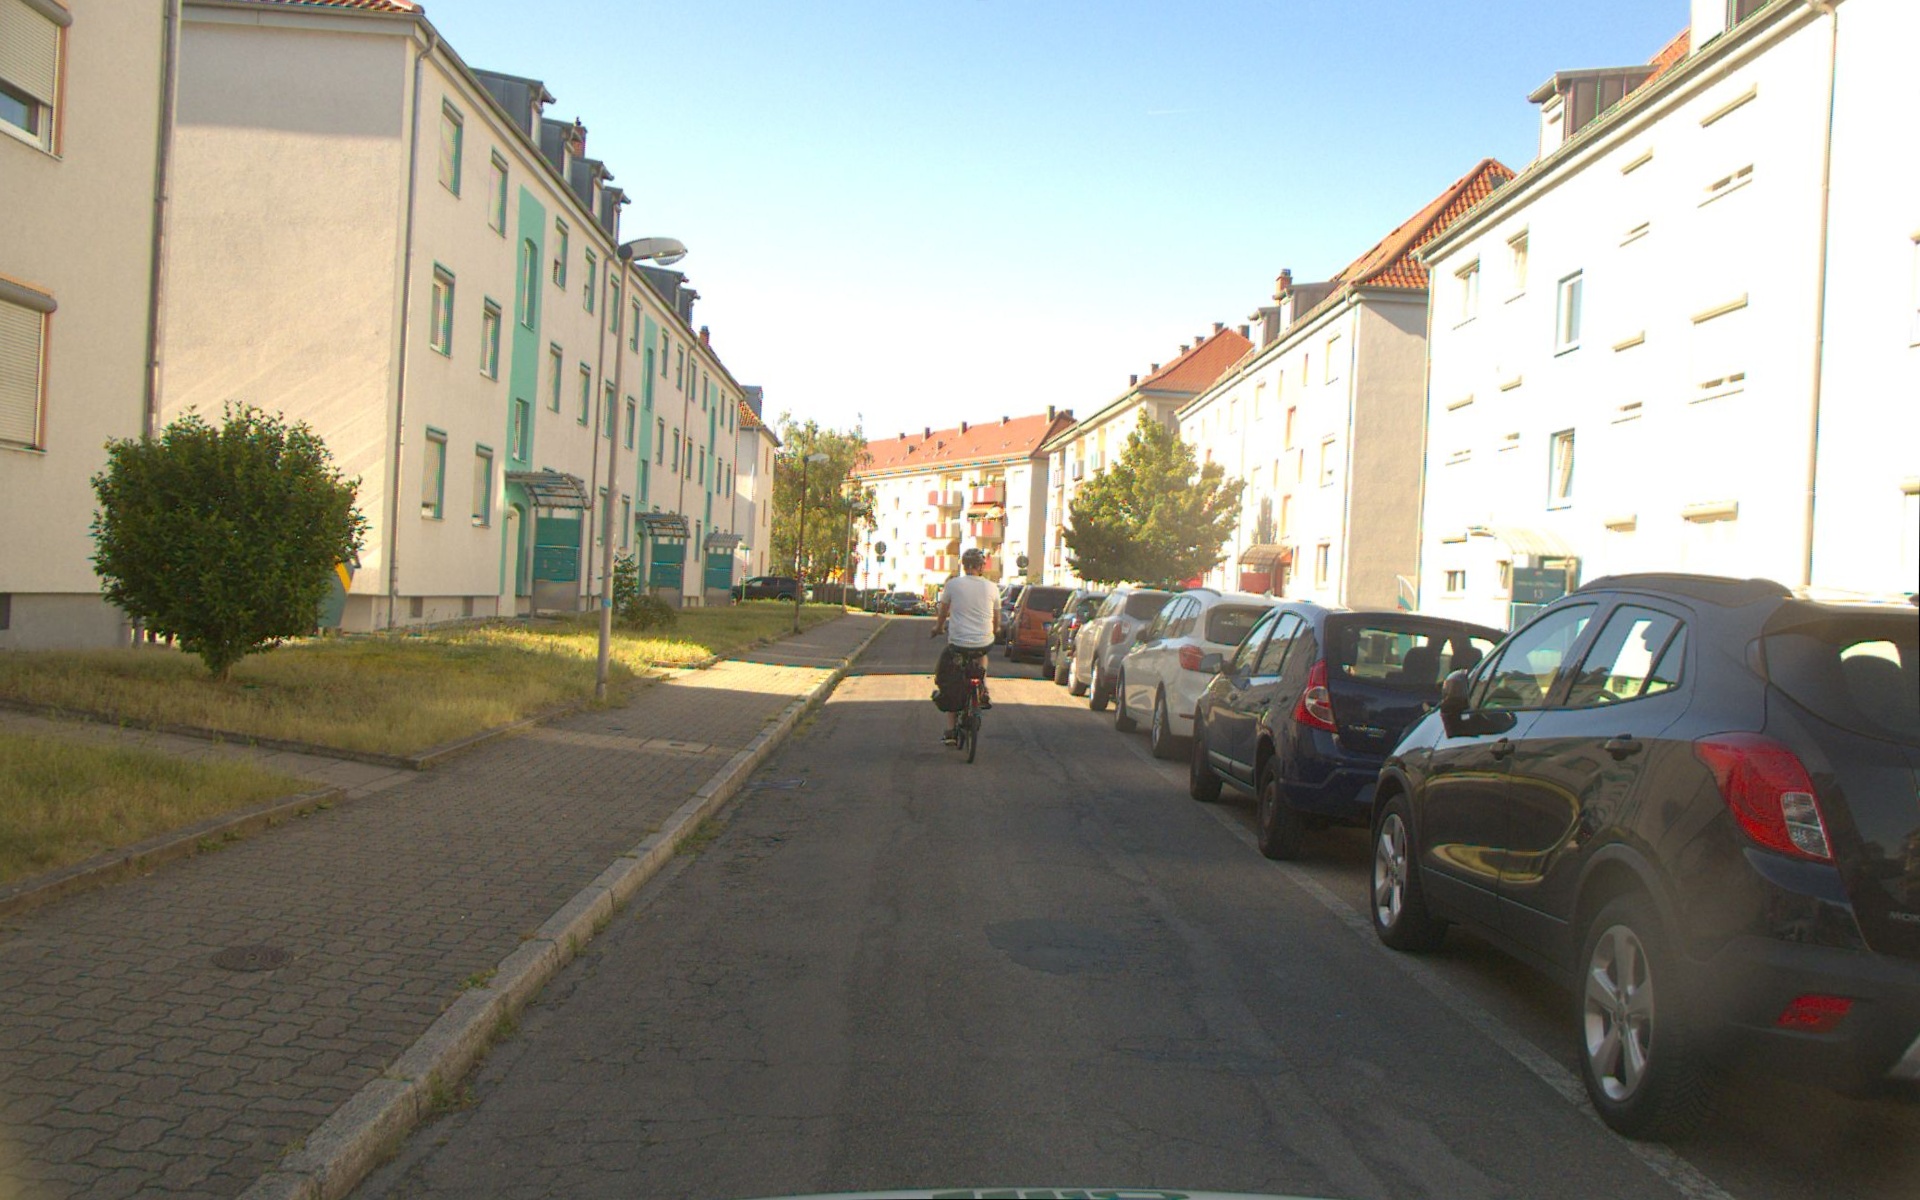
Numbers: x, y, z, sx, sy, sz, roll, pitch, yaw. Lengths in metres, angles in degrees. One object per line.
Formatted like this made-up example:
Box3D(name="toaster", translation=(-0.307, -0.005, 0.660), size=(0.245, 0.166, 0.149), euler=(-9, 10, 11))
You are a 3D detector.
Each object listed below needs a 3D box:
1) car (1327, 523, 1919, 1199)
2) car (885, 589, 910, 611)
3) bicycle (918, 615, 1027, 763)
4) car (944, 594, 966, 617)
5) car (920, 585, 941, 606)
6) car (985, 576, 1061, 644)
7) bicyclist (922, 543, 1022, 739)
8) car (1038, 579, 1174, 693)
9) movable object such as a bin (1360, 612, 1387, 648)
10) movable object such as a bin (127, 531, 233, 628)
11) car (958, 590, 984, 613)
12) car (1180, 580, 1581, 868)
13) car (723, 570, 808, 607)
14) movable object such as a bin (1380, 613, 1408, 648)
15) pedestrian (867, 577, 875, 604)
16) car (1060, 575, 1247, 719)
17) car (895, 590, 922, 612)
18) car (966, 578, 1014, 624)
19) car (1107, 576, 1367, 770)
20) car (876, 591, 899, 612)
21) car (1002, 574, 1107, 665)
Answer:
Box3D(name="car", translation=(2.804, 0.681, 6.195), size=(1.747, 1.676, 4.468), euler=(4, 1, 0))
Box3D(name="car", translation=(-4.049, 0.015, 107.174), size=(1.441, 1.358, 3.138), euler=(-1, 1, -5))
Box3D(name="bicycle", translation=(0.081, 0.742, 14.656), size=(0.792, 1.148, 2.100), euler=(2, 1, -4))
Box3D(name="car", translation=(-0.355, 0.409, 119.225), size=(1.354, 1.522, 3.075), euler=(3, 1, -3))
Box3D(name="car", translation=(-2.367, -0.363, 131.974), size=(1.440, 1.542, 3.075), euler=(3, 1, -3))
Box3D(name="car", translation=(1.716, 0.231, 46.383), size=(1.667, 1.699, 4.377), euler=(4, 1, -3))
Box3D(name="bicyclist", translation=(0.092, 0.348, 14.706), size=(0.792, 1.672, 0.898), euler=(2, 0, -4))
Box3D(name="car", translation=(2.390, 0.534, 28.062), size=(1.678, 1.623, 4.396), euler=(5, 1, -2))
Box3D(name="movable object such as a bin", translation=(11.028, 0.801, 44.121), size=(0.512, 0.901, 0.633), euler=(3, 0, -1))
Box3D(name="movable object such as a bin", translation=(-11.757, -0.311, 24.959), size=(1.228, 1.380, 0.904), euler=(2, 0, -13))
Box3D(name="car", translation=(0.738, 0.091, 112.484), size=(1.440, 1.358, 3.139), euler=(4, 1, -3))
Box3D(name="car", translation=(2.619, 0.670, 11.288), size=(1.608, 1.524, 4.156), euler=(2, 1, 0))
Box3D(name="car", translation=(-9.835, -0.588, 83.893), size=(4.149, 1.667, 1.581), euler=(2, 1, -5))
Box3D(name="movable object such as a bin", translation=(11.574, 0.811, 44.119), size=(0.512, 0.901, 0.633), euler=(3, 0, -1))
Box3D(name="pedestrian", translation=(-5.322, -0.562, 98.846), size=(0.425, 1.602, 0.543), euler=(2, 0, -2))
Box3D(name="car", translation=(2.559, 0.564, 22.947), size=(1.716, 1.645, 4.449), euler=(5, 1, -3))
Box3D(name="car", translation=(-3.231, 0.049, 102.827), size=(1.441, 1.358, 3.137), euler=(-1, 1, -6))
Box3D(name="car", translation=(1.252, 0.003, 69.883), size=(1.641, 1.769, 3.940), euler=(3, 1, -3))
Box3D(name="car", translation=(2.660, 0.619, 16.897), size=(1.657, 1.602, 4.433), euler=(4, 1, -2))
Box3D(name="car", translation=(-5.007, 0.074, 113.813), size=(1.440, 1.358, 3.138), euler=(-1, 1, -4))
Box3D(name="car", translation=(1.967, 0.372, 35.633), size=(1.824, 1.697, 4.126), euler=(4, 0, -1))
